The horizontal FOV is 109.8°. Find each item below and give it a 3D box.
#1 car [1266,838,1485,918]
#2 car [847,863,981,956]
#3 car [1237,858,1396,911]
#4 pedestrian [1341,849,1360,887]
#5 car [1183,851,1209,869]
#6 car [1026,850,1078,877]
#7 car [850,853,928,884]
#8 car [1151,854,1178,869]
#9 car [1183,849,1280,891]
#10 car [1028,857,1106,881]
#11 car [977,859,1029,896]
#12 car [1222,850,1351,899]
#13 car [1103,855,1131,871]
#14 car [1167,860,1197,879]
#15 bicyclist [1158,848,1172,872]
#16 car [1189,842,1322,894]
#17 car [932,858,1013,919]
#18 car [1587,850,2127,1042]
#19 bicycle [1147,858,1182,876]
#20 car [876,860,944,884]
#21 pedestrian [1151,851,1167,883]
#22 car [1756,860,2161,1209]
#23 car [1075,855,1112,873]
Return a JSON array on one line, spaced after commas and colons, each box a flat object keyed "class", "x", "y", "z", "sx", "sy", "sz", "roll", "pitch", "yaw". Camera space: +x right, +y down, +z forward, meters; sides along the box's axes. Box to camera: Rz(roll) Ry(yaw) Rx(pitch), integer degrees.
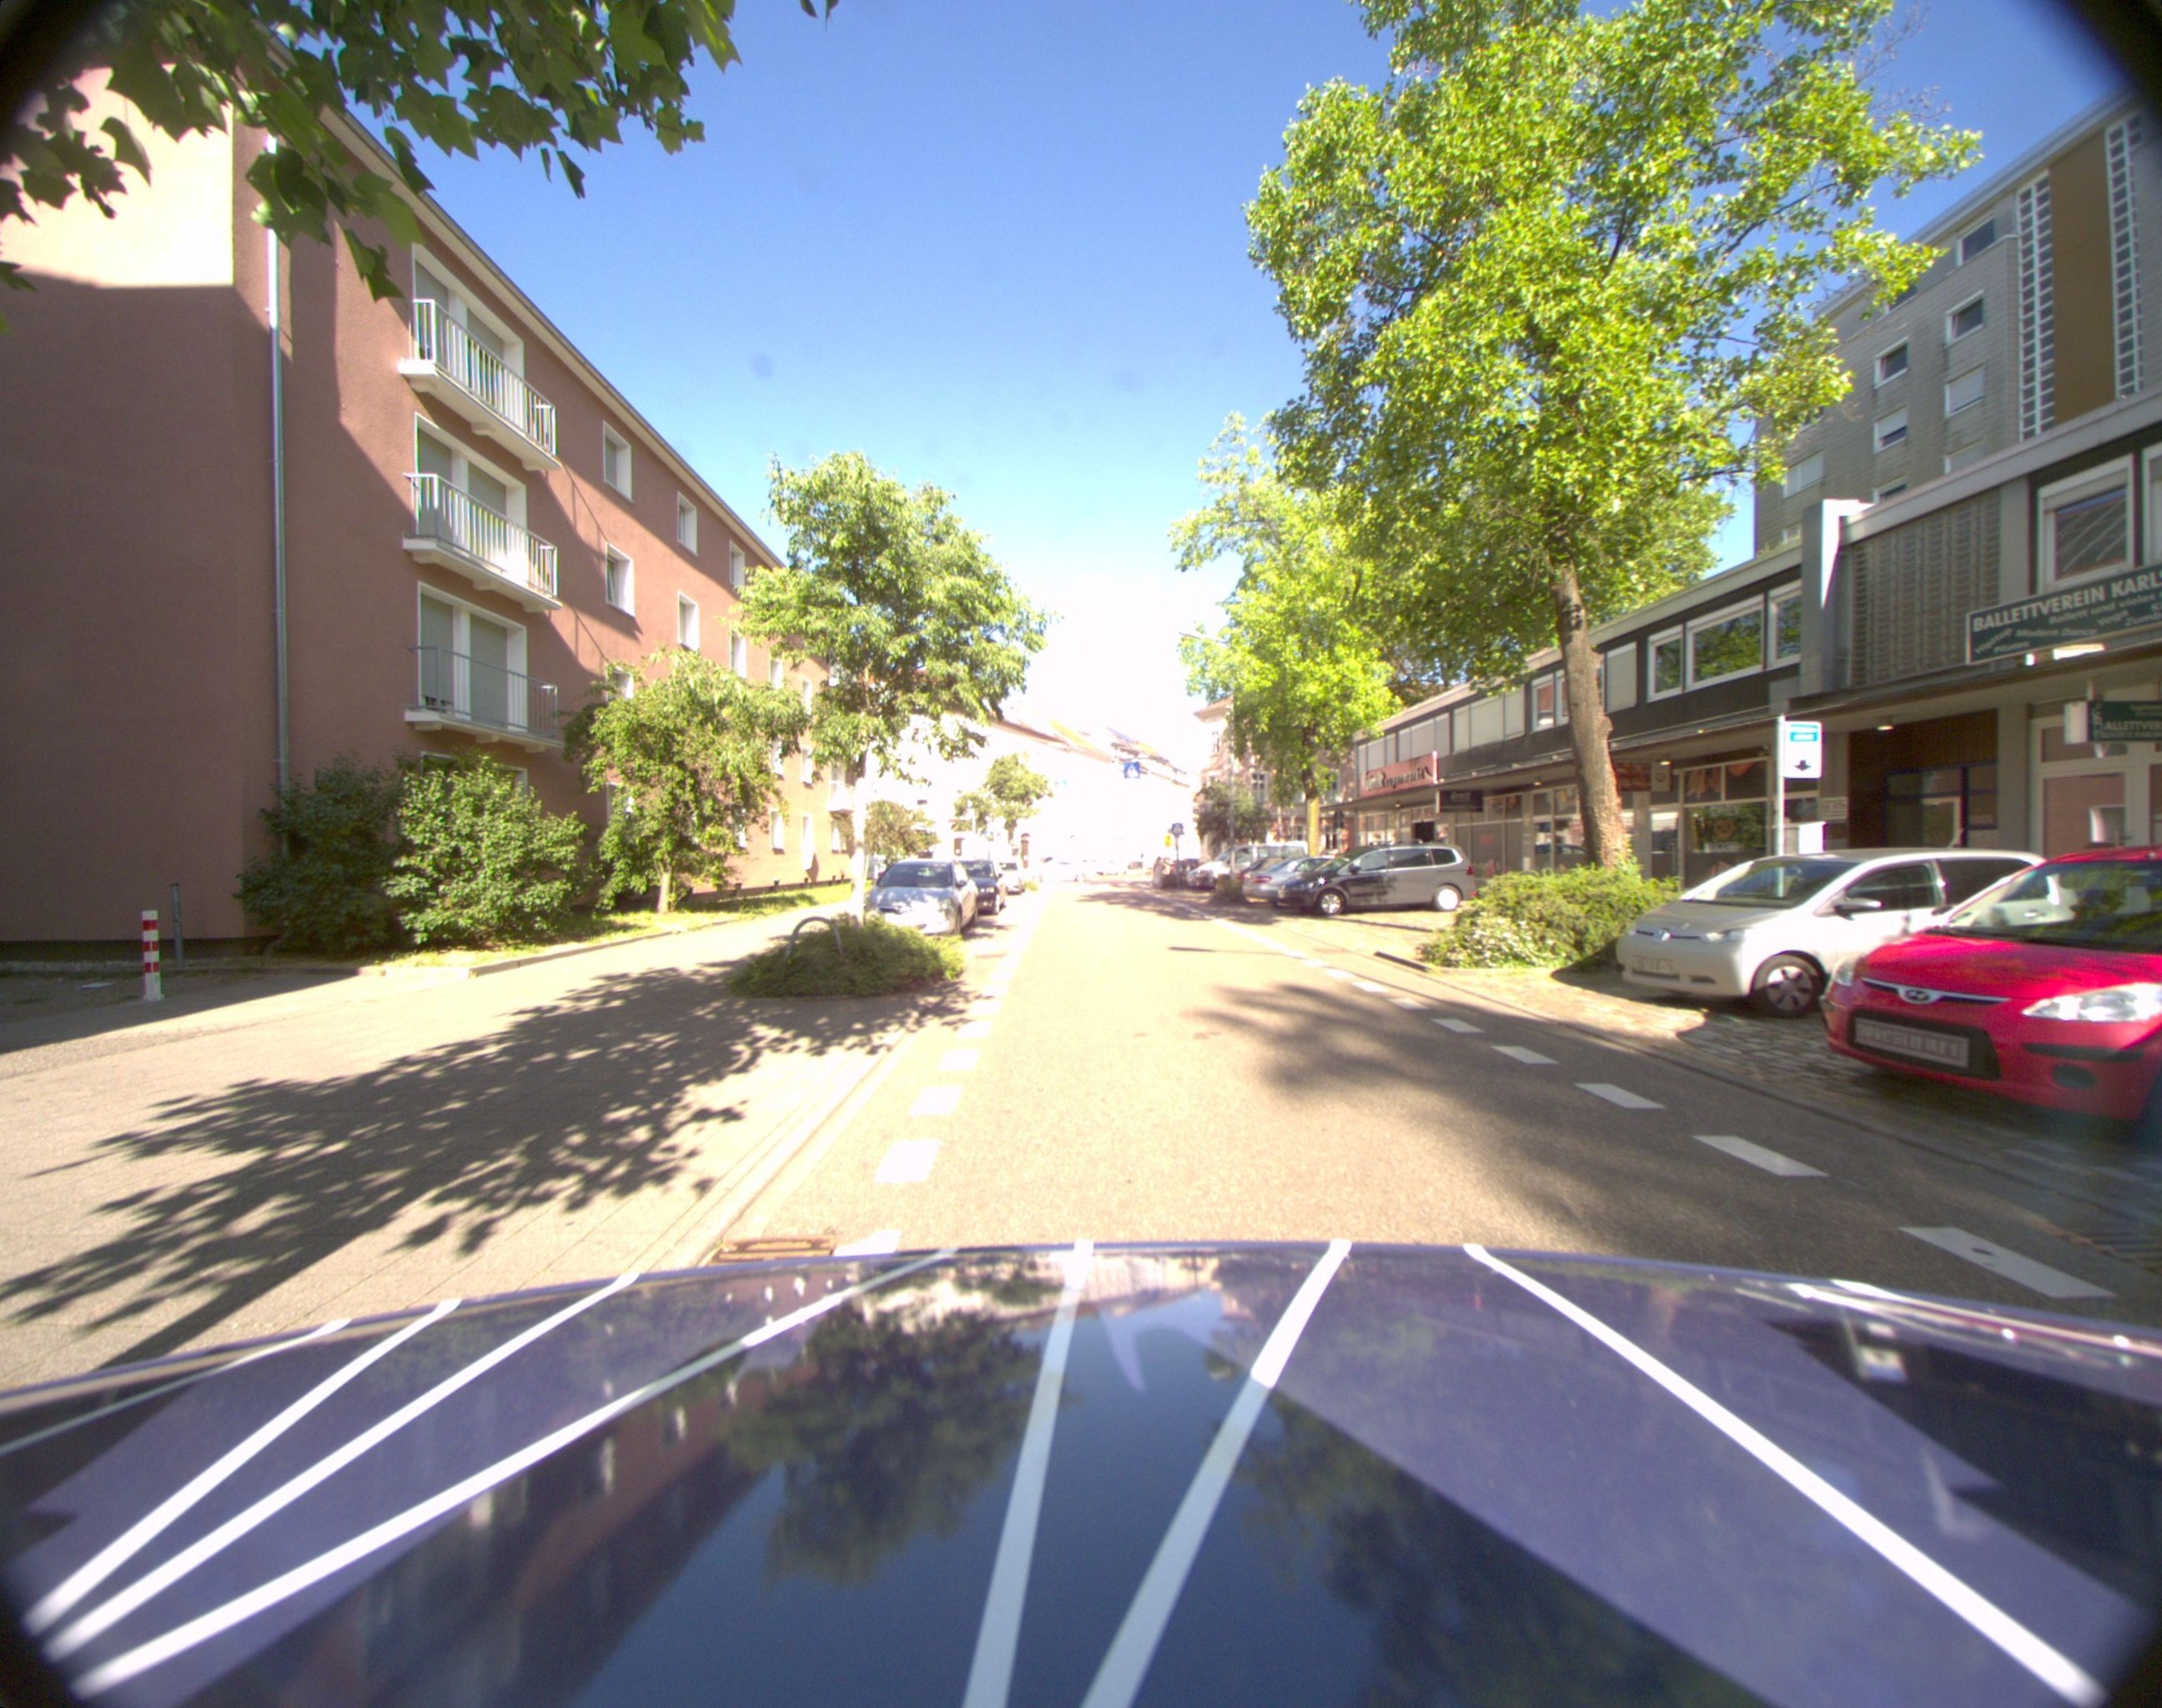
[{"class": "car", "x": 7.332, "y": 0.573, "z": 19.255, "sx": 4.781, "sy": 1.767, "sz": 1.874, "roll": -2, "pitch": 0, "yaw": -1}, {"class": "car", "x": -3.032, "y": 0.942, "z": 14.611, "sx": 1.720, "sy": 1.445, "sz": 3.999, "roll": 0, "pitch": 1, "yaw": -1}, {"class": "car", "x": 6.676, "y": 0.837, "z": 21.784, "sx": 3.998, "sy": 1.390, "sz": 1.759, "roll": -1, "pitch": 0, "yaw": -3}, {"class": "pedestrian", "x": 11.408, "y": 0.586, "z": 32.140, "sx": 0.529, "sy": 1.547, "sz": 0.663, "roll": -2, "pitch": 1, "yaw": -1}, {"class": "car", "x": 11.002, "y": 0.583, "z": 72.739, "sx": 1.505, "sy": 1.652, "sz": 4.006, "roll": 0, "pitch": 0, "yaw": 23}, {"class": "car", "x": -2.107, "y": 0.679, "z": 57.293, "sx": 1.908, "sy": 1.924, "sz": 4.817, "roll": 0, "pitch": 0, "yaw": 25}, {"class": "car", "x": -12.688, "y": 0.954, "z": 50.494, "sx": 4.757, "sy": 2.002, "sz": 1.999, "roll": -1, "pitch": 0, "yaw": -6}, {"class": "car", "x": 8.903, "y": 0.804, "z": 80.637, "sx": 1.608, "sy": 1.444, "sz": 3.302, "roll": 4, "pitch": 0, "yaw": 28}, {"class": "car", "x": 6.735, "y": 0.698, "z": 34.199, "sx": 3.998, "sy": 1.781, "sz": 1.757, "roll": -1, "pitch": 0, "yaw": -2}, {"class": "car", "x": -0.937, "y": 0.929, "z": 48.613, "sx": 4.805, "sy": 1.417, "sz": 1.999, "roll": -1, "pitch": 0, "yaw": -8}, {"class": "car", "x": -3.161, "y": 0.915, "z": 31.418, "sx": 1.736, "sy": 1.420, "sz": 4.000, "roll": -1, "pitch": 0, "yaw": 0}, {"class": "car", "x": 7.210, "y": 0.708, "z": 26.860, "sx": 3.998, "sy": 1.413, "sz": 1.736, "roll": -4, "pitch": 0, "yaw": -3}, {"class": "car", "x": 3.409, "y": 0.806, "z": 71.483, "sx": 1.632, "sy": 1.412, "sz": 3.299, "roll": 0, "pitch": 0, "yaw": 22}, {"class": "car", "x": 9.043, "y": 1.388, "z": 67.879, "sx": 1.670, "sy": 1.628, "sz": 4.055, "roll": 0, "pitch": 0, "yaw": 23}, {"class": "bicyclist", "x": 5.734, "y": 0.418, "z": 51.769, "sx": 0.817, "sy": 1.663, "sz": 0.848, "roll": 0, "pitch": 1, "yaw": 14}, {"class": "car", "x": 7.194, "y": 0.544, "z": 31.632, "sx": 4.996, "sy": 1.958, "sz": 1.909, "roll": -2, "pitch": 0, "yaw": -3}, {"class": "car", "x": -2.879, "y": 0.870, "z": 20.987, "sx": 1.662, "sy": 1.473, "sz": 4.311, "roll": -1, "pitch": 0, "yaw": -1}, {"class": "car", "x": 7.335, "y": 0.801, "z": 7.467, "sx": 3.595, "sy": 1.552, "sz": 1.672, "roll": -2, "pitch": 0, "yaw": -1}, {"class": "bicycle", "x": 5.678, "y": 0.907, "z": 51.793, "sx": 2.287, "sy": 1.179, "sz": 0.876, "roll": -1, "pitch": 0, "yaw": 13}, {"class": "car", "x": -10.159, "y": 1.056, "z": 45.272, "sx": 3.648, "sy": 1.394, "sz": 1.568, "roll": -1, "pitch": 0, "yaw": -1}, {"class": "pedestrian", "x": 4.035, "y": 0.658, "z": 39.163, "sx": 0.727, "sy": 1.630, "sz": 0.808, "roll": 0, "pitch": 1, "yaw": -1}, {"class": "car", "x": 6.519, "y": 0.859, "z": 4.531, "sx": 3.567, "sy": 1.545, "sz": 1.661, "roll": -2, "pitch": 0, "yaw": -3}, {"class": "car", "x": 1.124, "y": 0.887, "z": 65.660, "sx": 2.130, "sy": 1.487, "sz": 3.951, "roll": 0, "pitch": 0, "yaw": 18}]
